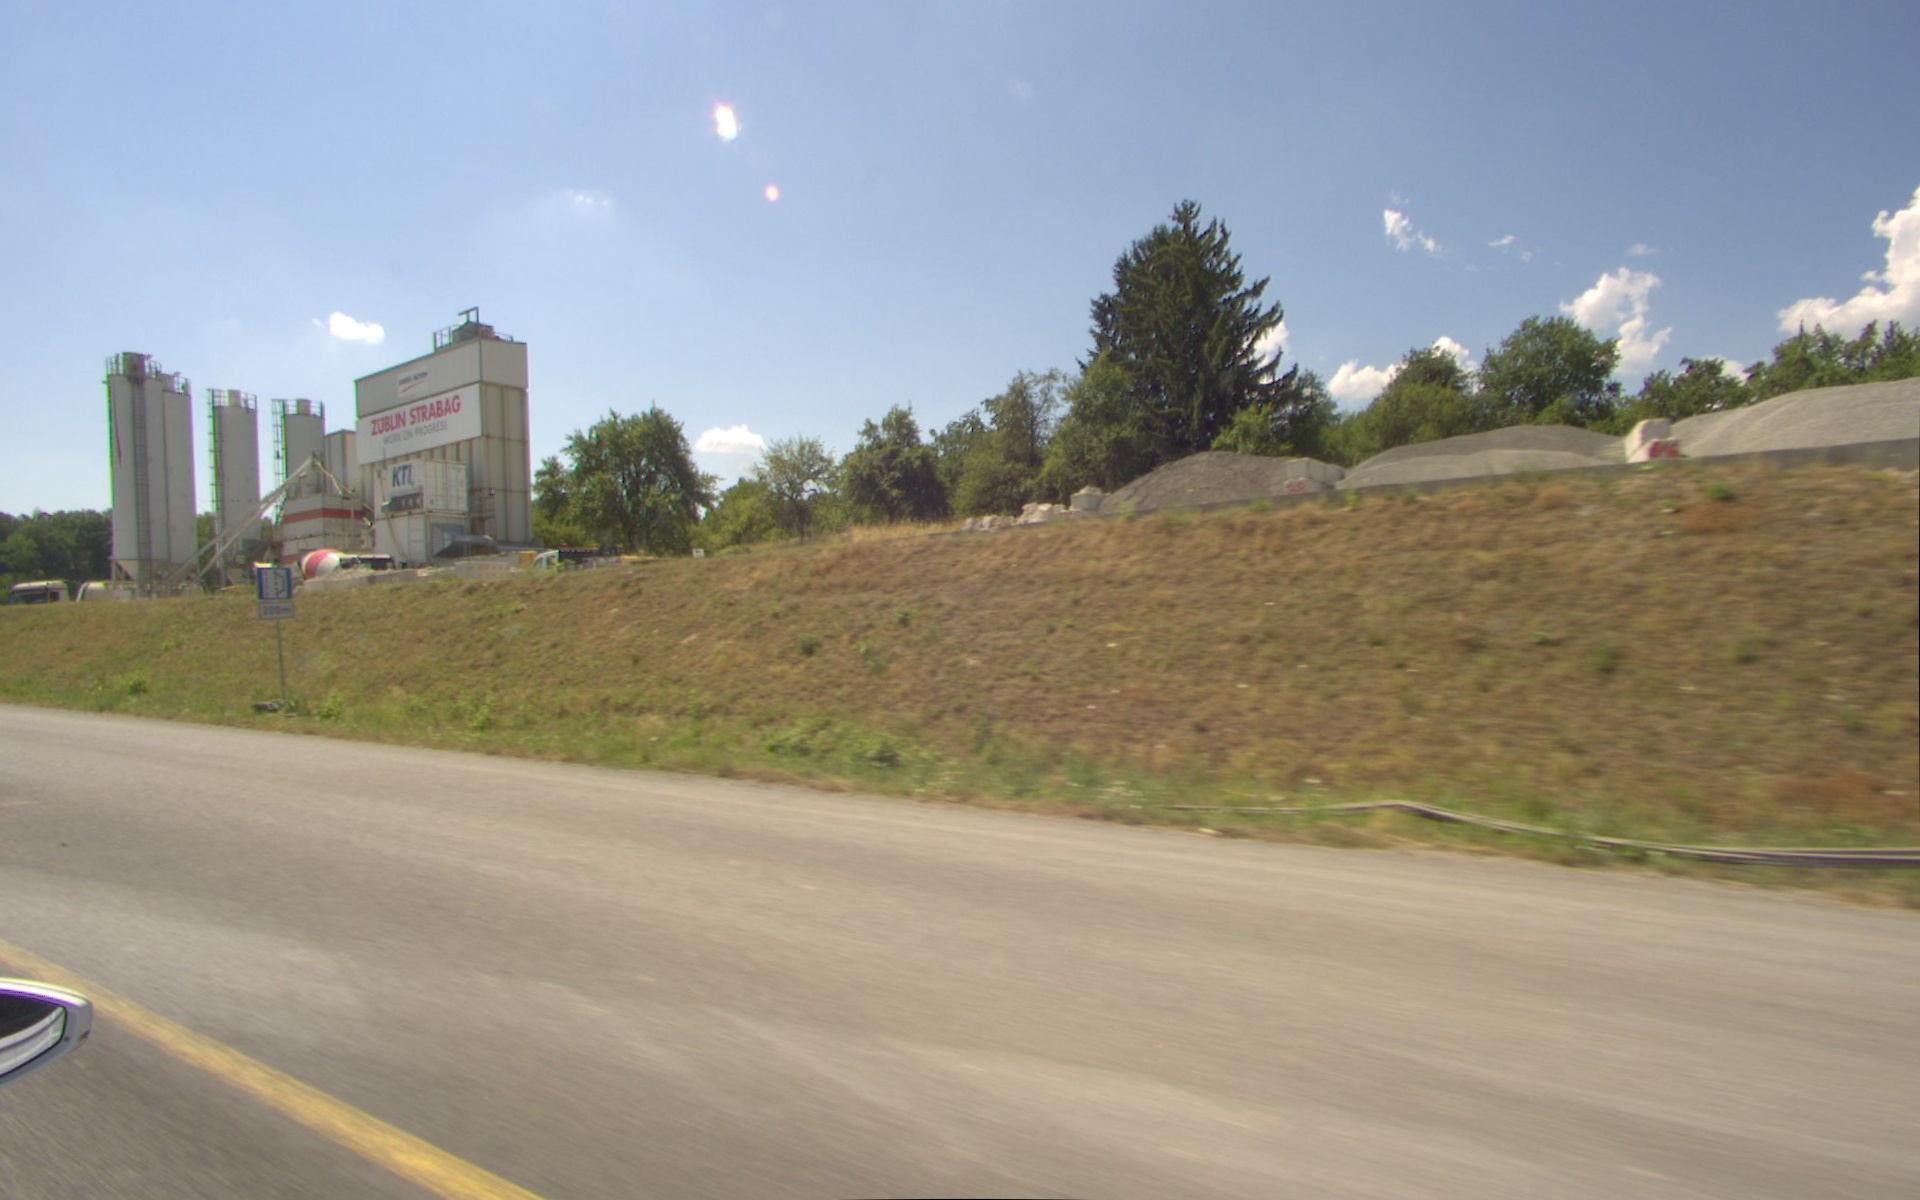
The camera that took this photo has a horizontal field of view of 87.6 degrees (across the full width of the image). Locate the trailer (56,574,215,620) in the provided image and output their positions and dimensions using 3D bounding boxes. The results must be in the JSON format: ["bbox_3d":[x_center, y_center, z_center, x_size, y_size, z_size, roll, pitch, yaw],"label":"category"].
[{"bbox_3d":[-62.788,-0.152,76.617,3.271,3.271,9.012,0,-1,18],"label":"trailer"}]

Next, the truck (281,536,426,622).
[{"bbox_3d":[-33.564,-0.999,55.222,9.798,4.353,3.424,-1,0,37],"label":"truck"}]

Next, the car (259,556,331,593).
[{"bbox_3d":[-39.900,-1.476,60.090,4.364,2.040,1.989,-1,0,32],"label":"car"}]

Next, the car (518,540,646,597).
[{"bbox_3d":[-14.968,-1.196,39.589,4.921,2.040,2.219,-1,0,32],"label":"car"}]

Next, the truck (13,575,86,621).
[{"bbox_3d":[-64.361,-0.098,70.923,2.866,3.154,5.975,0,0,-33],"label":"truck"}]
